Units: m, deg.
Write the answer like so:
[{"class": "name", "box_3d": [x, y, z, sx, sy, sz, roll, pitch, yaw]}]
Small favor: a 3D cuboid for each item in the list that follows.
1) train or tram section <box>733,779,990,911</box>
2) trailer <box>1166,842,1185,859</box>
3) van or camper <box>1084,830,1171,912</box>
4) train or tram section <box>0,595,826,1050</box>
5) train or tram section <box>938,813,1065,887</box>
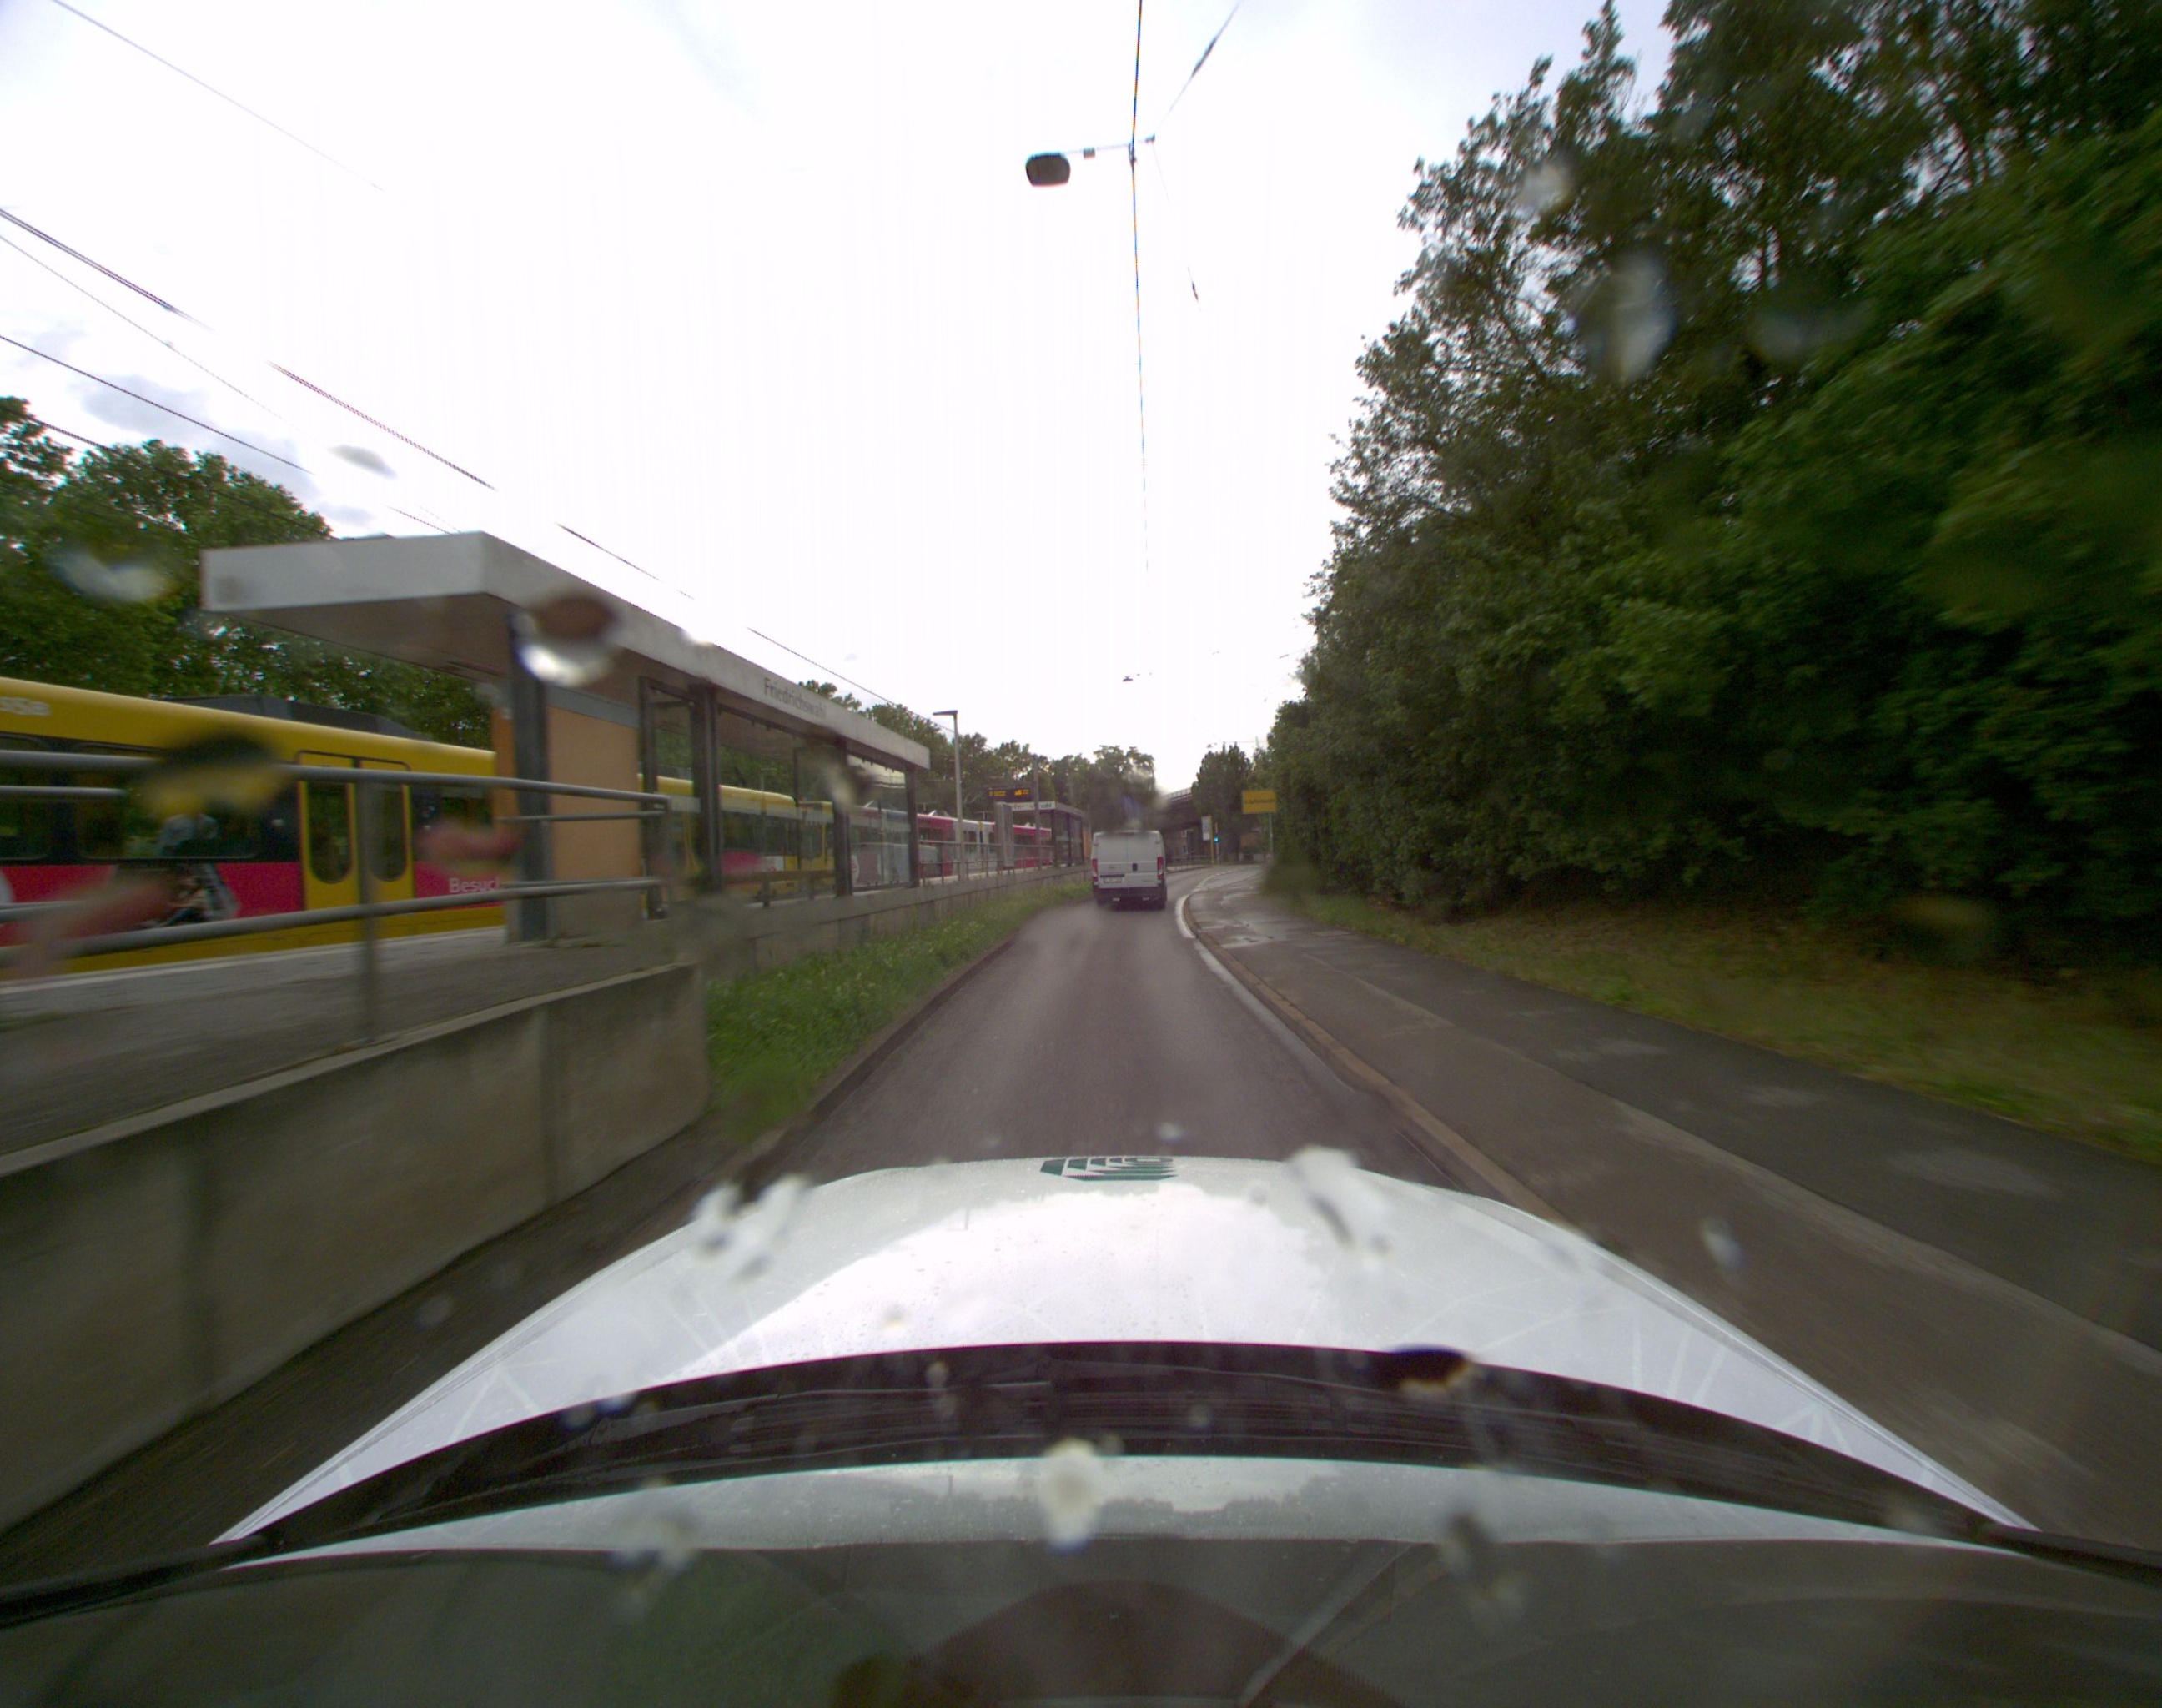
[{"class": "train or tram section", "box_3d": [-7.747, -0.225, 34.230, 2.851, 3.971, 19.376, -1, 0, 9]}, {"class": "trailer", "box_3d": [16.534, -0.587, 142.882, 1.997, 2.725, 4.103, -1, -1, -14]}, {"class": "van or camper", "box_3d": [1.545, 0.486, 24.799, 2.186, 2.252, 4.695, -1, 0, 9]}, {"class": "train or tram section", "box_3d": [-10.052, -0.223, 14.997, 2.854, 3.954, 19.360, -1, 0, 6]}, {"class": "train or tram section", "box_3d": [-4.500, -0.190, 53.370, 2.849, 3.961, 19.389, -1, 0, 11]}]
